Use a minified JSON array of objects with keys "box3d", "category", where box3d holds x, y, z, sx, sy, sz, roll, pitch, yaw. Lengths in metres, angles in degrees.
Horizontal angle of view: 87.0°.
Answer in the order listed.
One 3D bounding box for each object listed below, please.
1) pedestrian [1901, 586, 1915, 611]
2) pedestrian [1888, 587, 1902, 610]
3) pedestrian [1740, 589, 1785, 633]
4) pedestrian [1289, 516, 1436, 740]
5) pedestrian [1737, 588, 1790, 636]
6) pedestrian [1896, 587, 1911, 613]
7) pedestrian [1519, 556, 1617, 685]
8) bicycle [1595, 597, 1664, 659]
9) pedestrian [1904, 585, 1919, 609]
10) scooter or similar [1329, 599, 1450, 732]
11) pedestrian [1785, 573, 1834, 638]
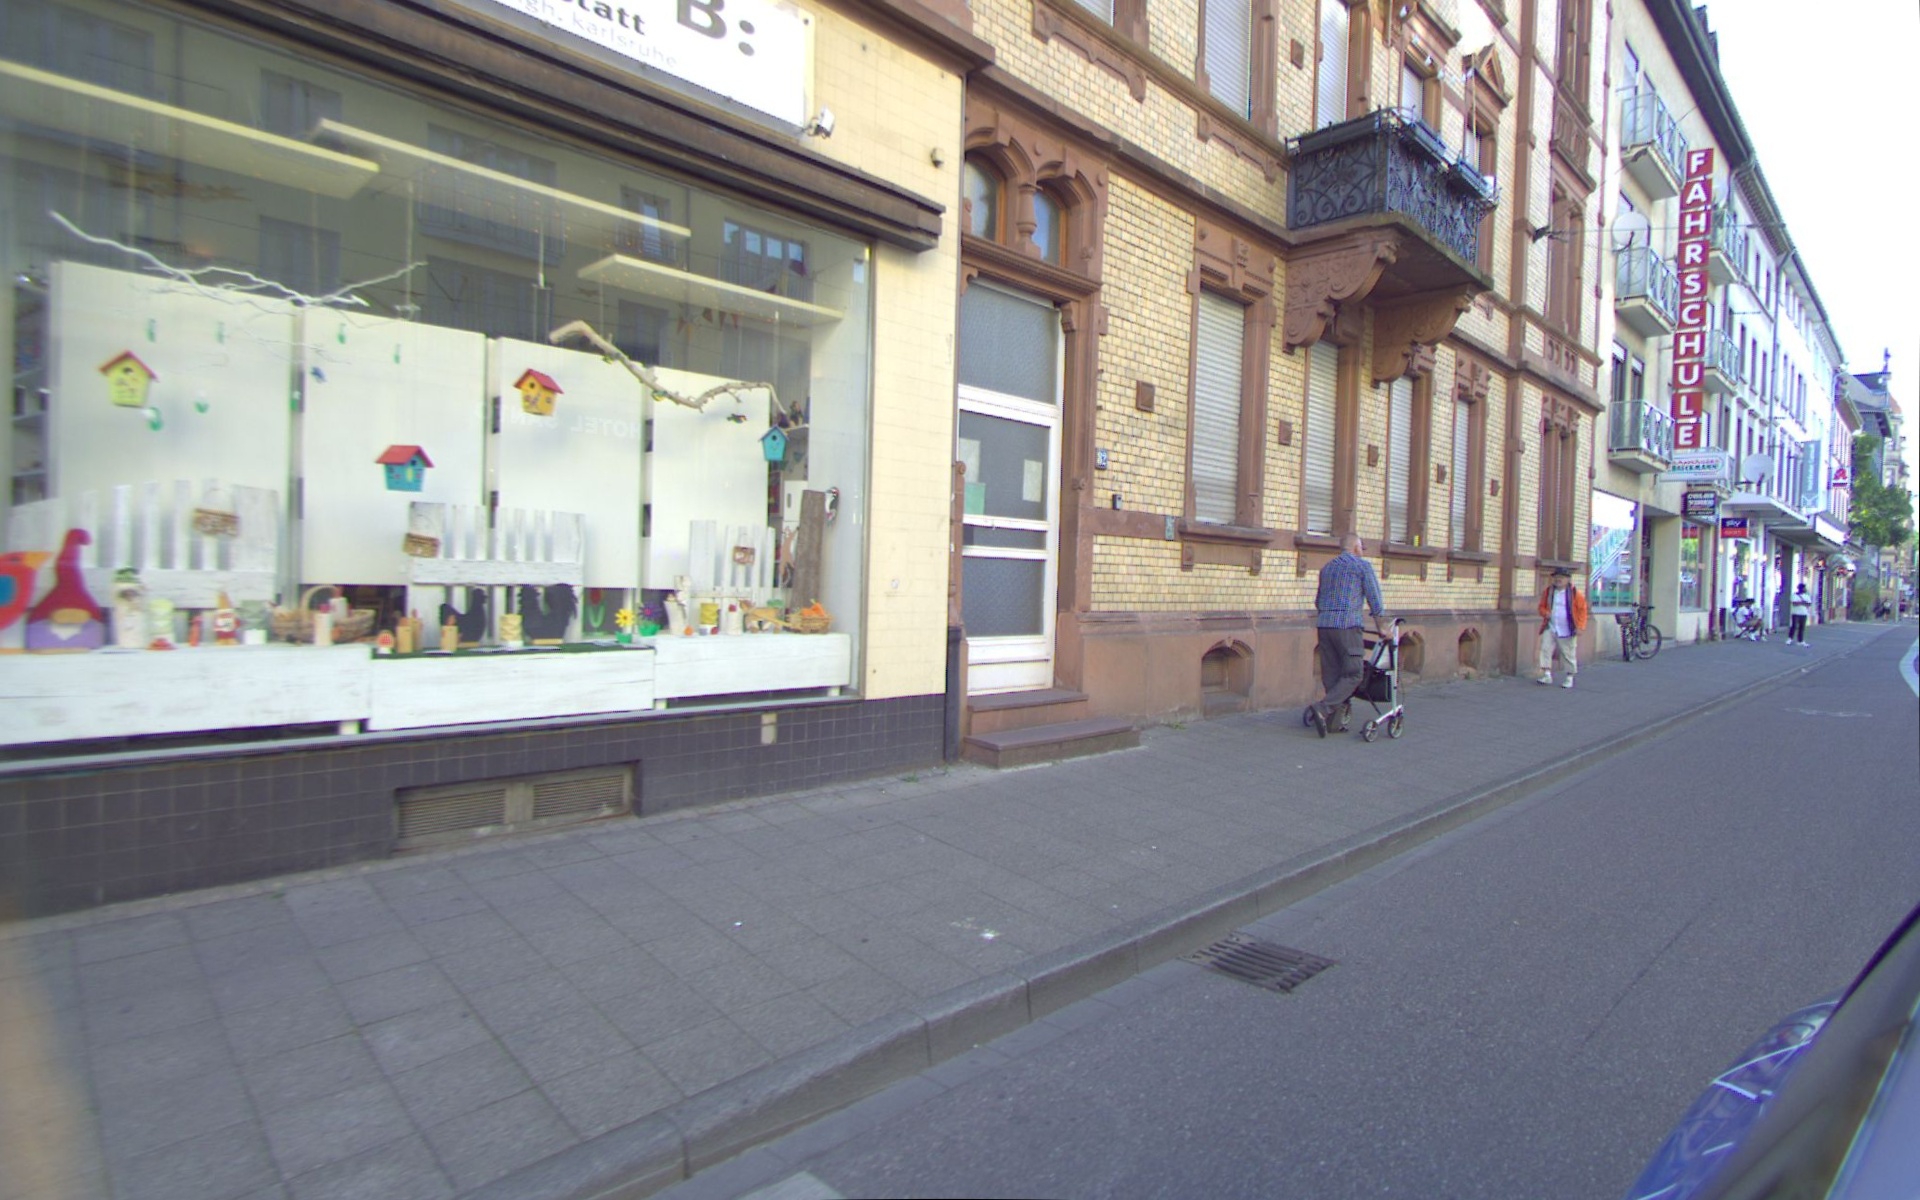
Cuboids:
[{"box3d":[68.233,-0.131,72.829,0.648,1.737,0.795,2,2,39],"category":"pedestrian"},{"box3d":[67.744,-0.108,73.339,0.648,1.598,0.673,2,2,39],"category":"pedestrian"},{"box3d":[24.111,0.330,30.426,0.701,1.188,1.007,8,6,26],"category":"pedestrian"},{"box3d":[3.546,0.216,8.928,0.749,1.821,0.807,1,5,-44],"category":"pedestrian"},{"box3d":[23.513,0.340,29.645,0.818,1.269,0.705,7,5,11],"category":"pedestrian"},{"box3d":[68.121,0.003,73.095,0.684,1.793,0.650,0,2,-40],"category":"pedestrian"},{"box3d":[8.436,0.274,14.053,0.812,1.646,0.799,2,5,-44],"category":"pedestrian"},{"box3d":[12.753,0.501,19.251,2.273,1.073,0.556,0,4,-44],"category":"bicycle"},{"box3d":[74.974,-0.261,79.740,0.749,1.822,0.806,0,2,-44],"category":"pedestrian"},{"box3d":[3.984,0.581,9.402,0.513,1.082,0.807,0,6,-44],"category":"scooter or similar"},{"box3d":[25.211,0.163,30.048,0.665,1.832,0.709,3,6,-29],"category":"pedestrian"}]
